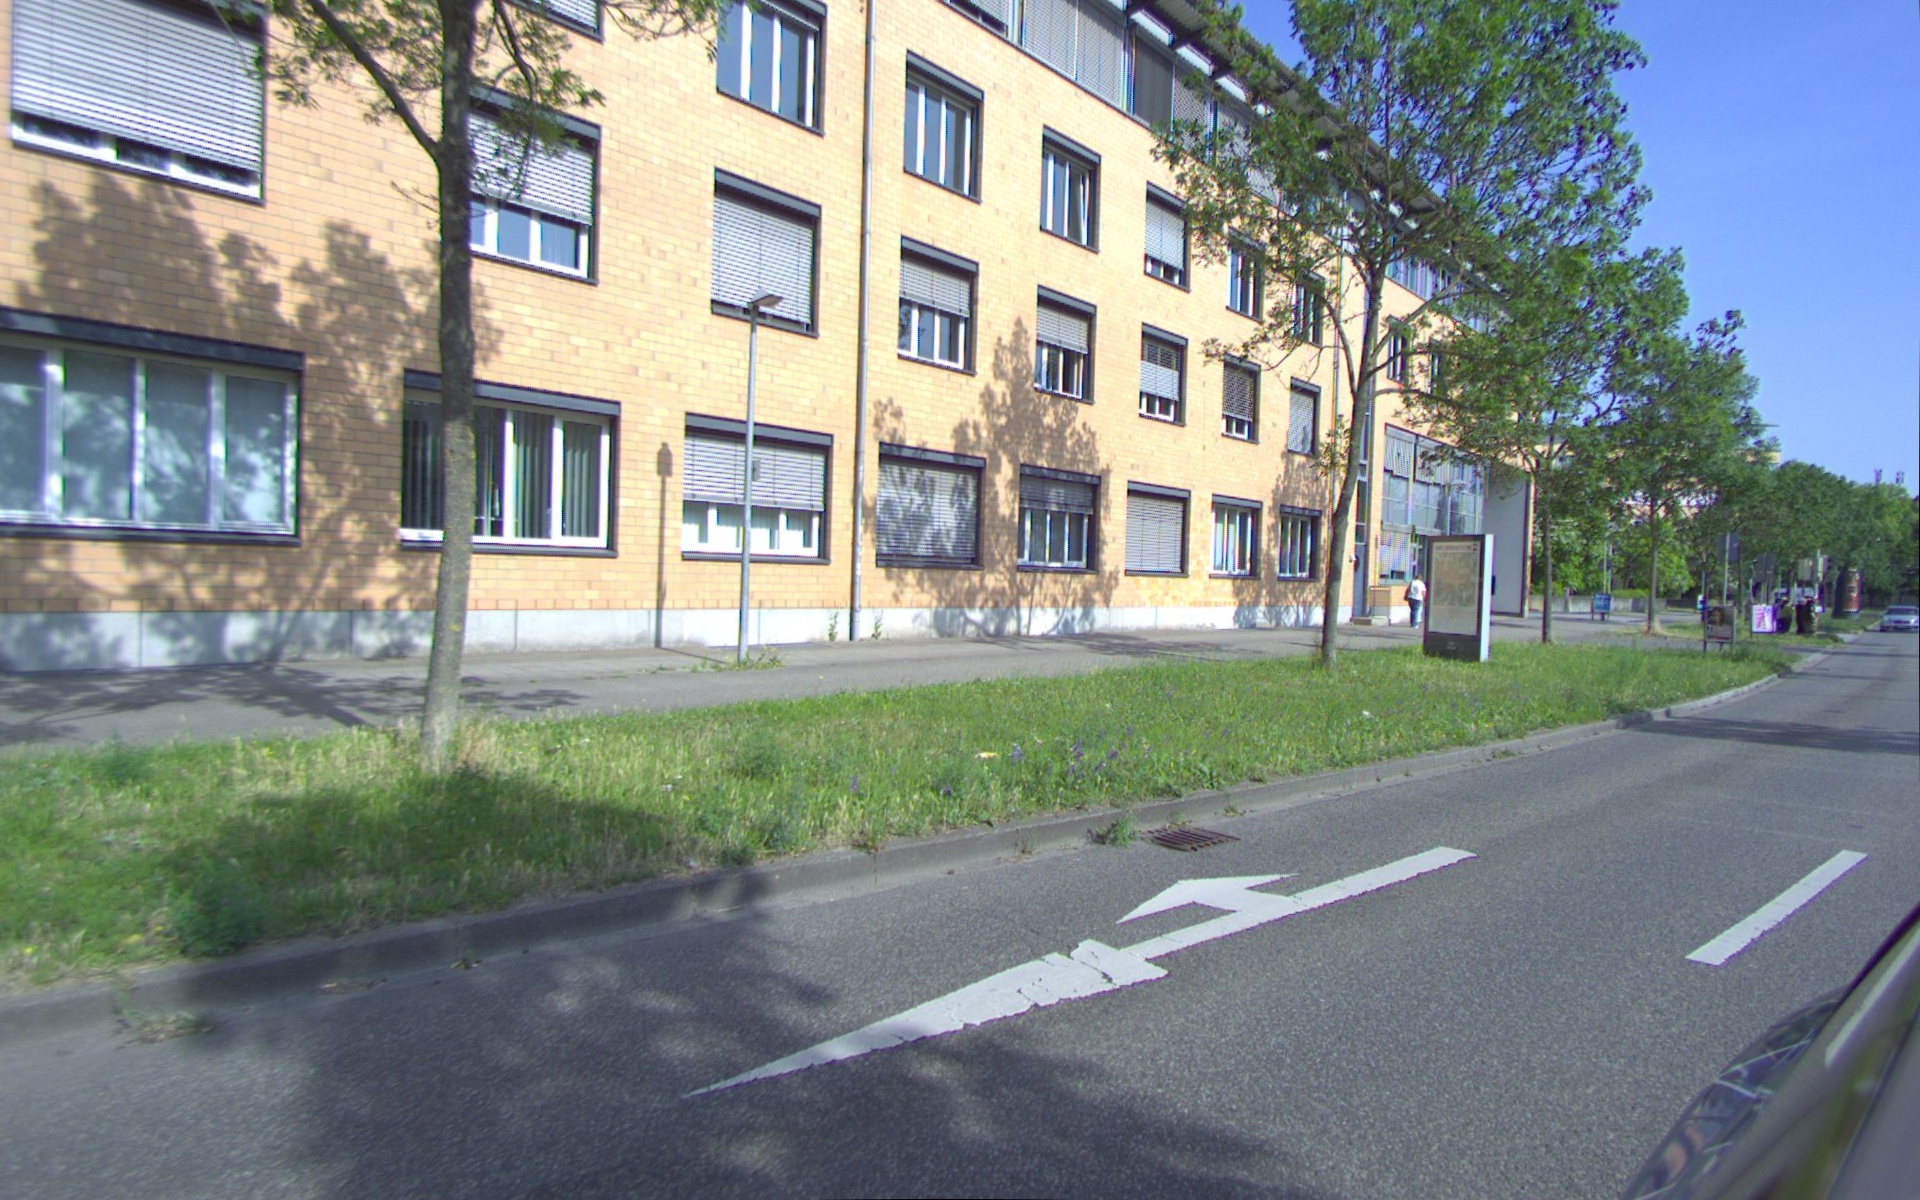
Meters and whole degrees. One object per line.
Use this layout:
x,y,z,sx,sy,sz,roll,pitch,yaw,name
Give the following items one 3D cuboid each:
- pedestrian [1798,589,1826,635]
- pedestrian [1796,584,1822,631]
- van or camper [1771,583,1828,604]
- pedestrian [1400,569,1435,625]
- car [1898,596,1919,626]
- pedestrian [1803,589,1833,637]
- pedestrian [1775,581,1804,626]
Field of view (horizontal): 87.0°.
31.662,0.435,37.611,0.705,1.666,0.679,5,3,40,pedestrian
31.058,0.270,37.029,0.634,1.666,0.600,5,3,40,pedestrian
112.036,-0.919,135.092,5.780,2.727,2.372,1,1,42,van or camper
14.179,-0.094,31.337,0.696,1.676,0.761,4,3,44,pedestrian
50.360,0.574,53.117,1.624,1.503,3.315,0,0,43,car
30.490,0.454,35.951,0.705,1.666,0.679,5,3,42,pedestrian
31.659,0.116,38.624,0.705,1.666,0.679,5,3,42,pedestrian
